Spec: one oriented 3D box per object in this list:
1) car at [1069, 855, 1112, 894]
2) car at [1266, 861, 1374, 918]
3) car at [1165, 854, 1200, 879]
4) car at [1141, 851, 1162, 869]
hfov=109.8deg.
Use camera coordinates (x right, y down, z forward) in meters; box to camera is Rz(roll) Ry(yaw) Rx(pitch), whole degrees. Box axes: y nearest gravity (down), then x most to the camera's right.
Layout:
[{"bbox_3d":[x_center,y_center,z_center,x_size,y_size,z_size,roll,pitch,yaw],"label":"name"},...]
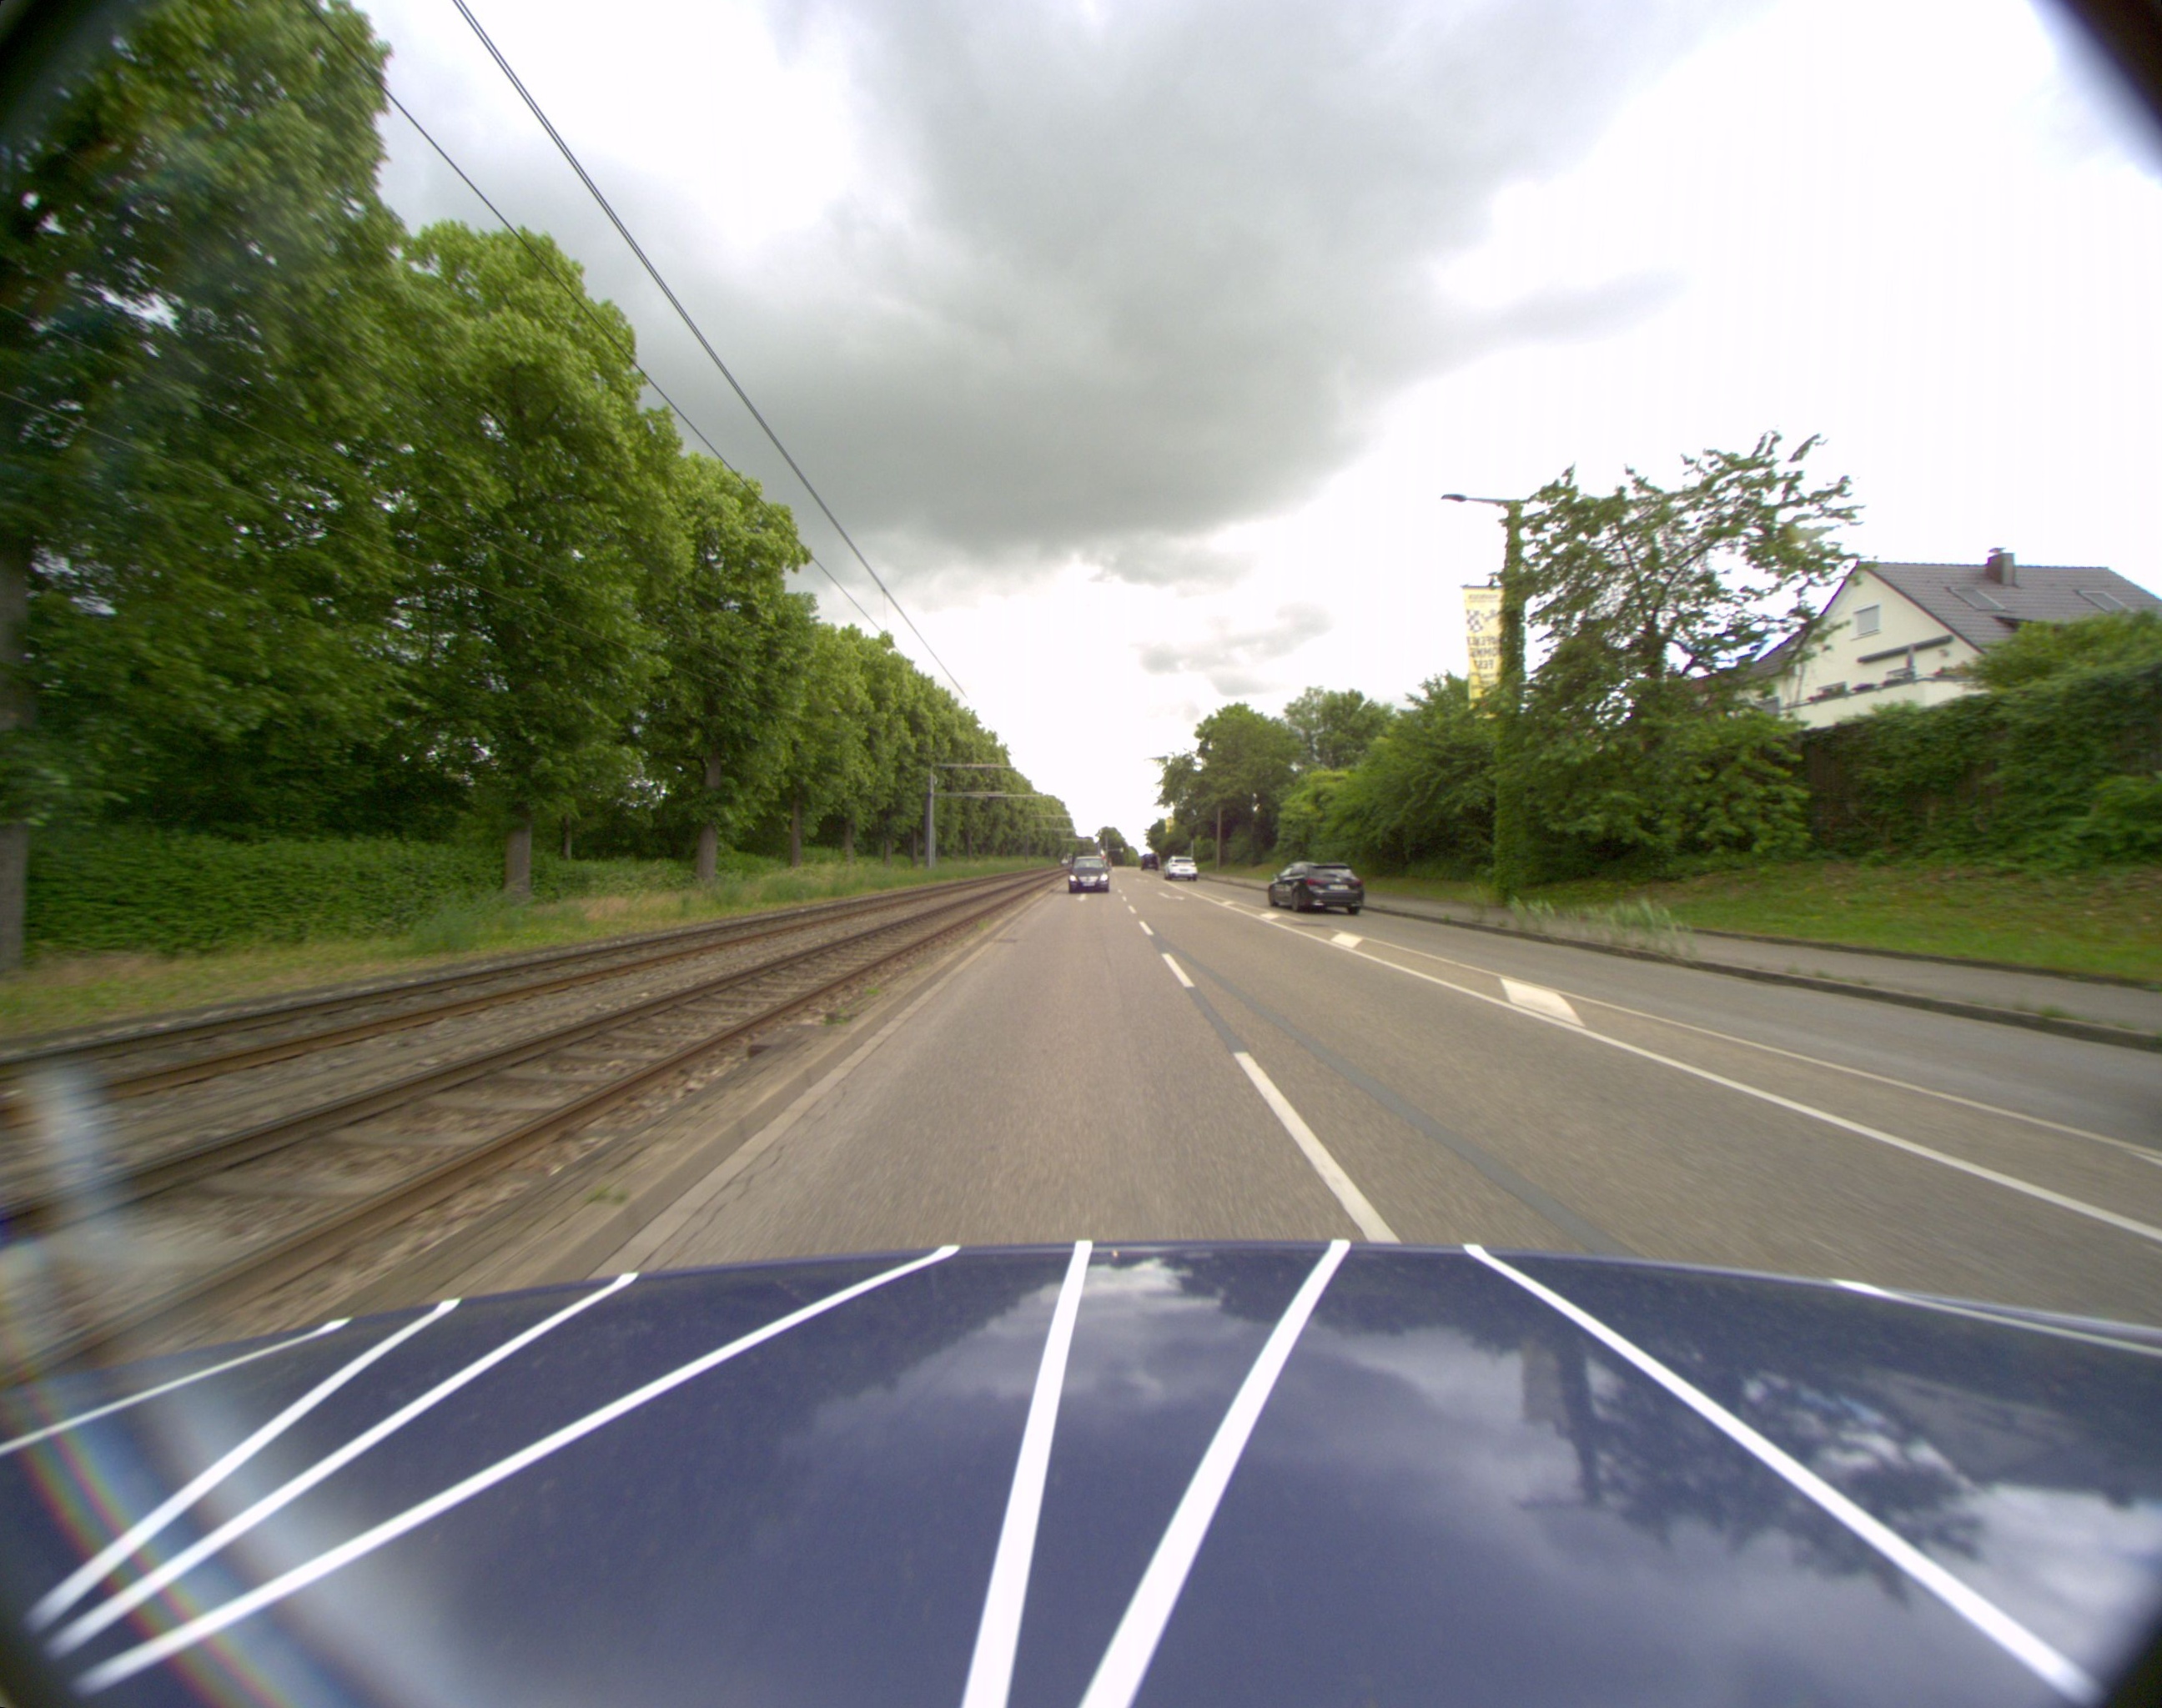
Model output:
[{"bbox_3d":[0.437,0.861,34.013,1.749,1.558,4.121,-1,0,1],"label":"car"},{"bbox_3d":[6.856,0.970,22.272,1.771,1.392,4.215,2,0,-1],"label":"car"},{"bbox_3d":[6.878,0.837,51.913,1.846,1.611,4.159,1,0,0],"label":"car"},{"bbox_3d":[8.409,0.670,90.915,1.998,2.024,5.115,1,0,0],"label":"car"}]
